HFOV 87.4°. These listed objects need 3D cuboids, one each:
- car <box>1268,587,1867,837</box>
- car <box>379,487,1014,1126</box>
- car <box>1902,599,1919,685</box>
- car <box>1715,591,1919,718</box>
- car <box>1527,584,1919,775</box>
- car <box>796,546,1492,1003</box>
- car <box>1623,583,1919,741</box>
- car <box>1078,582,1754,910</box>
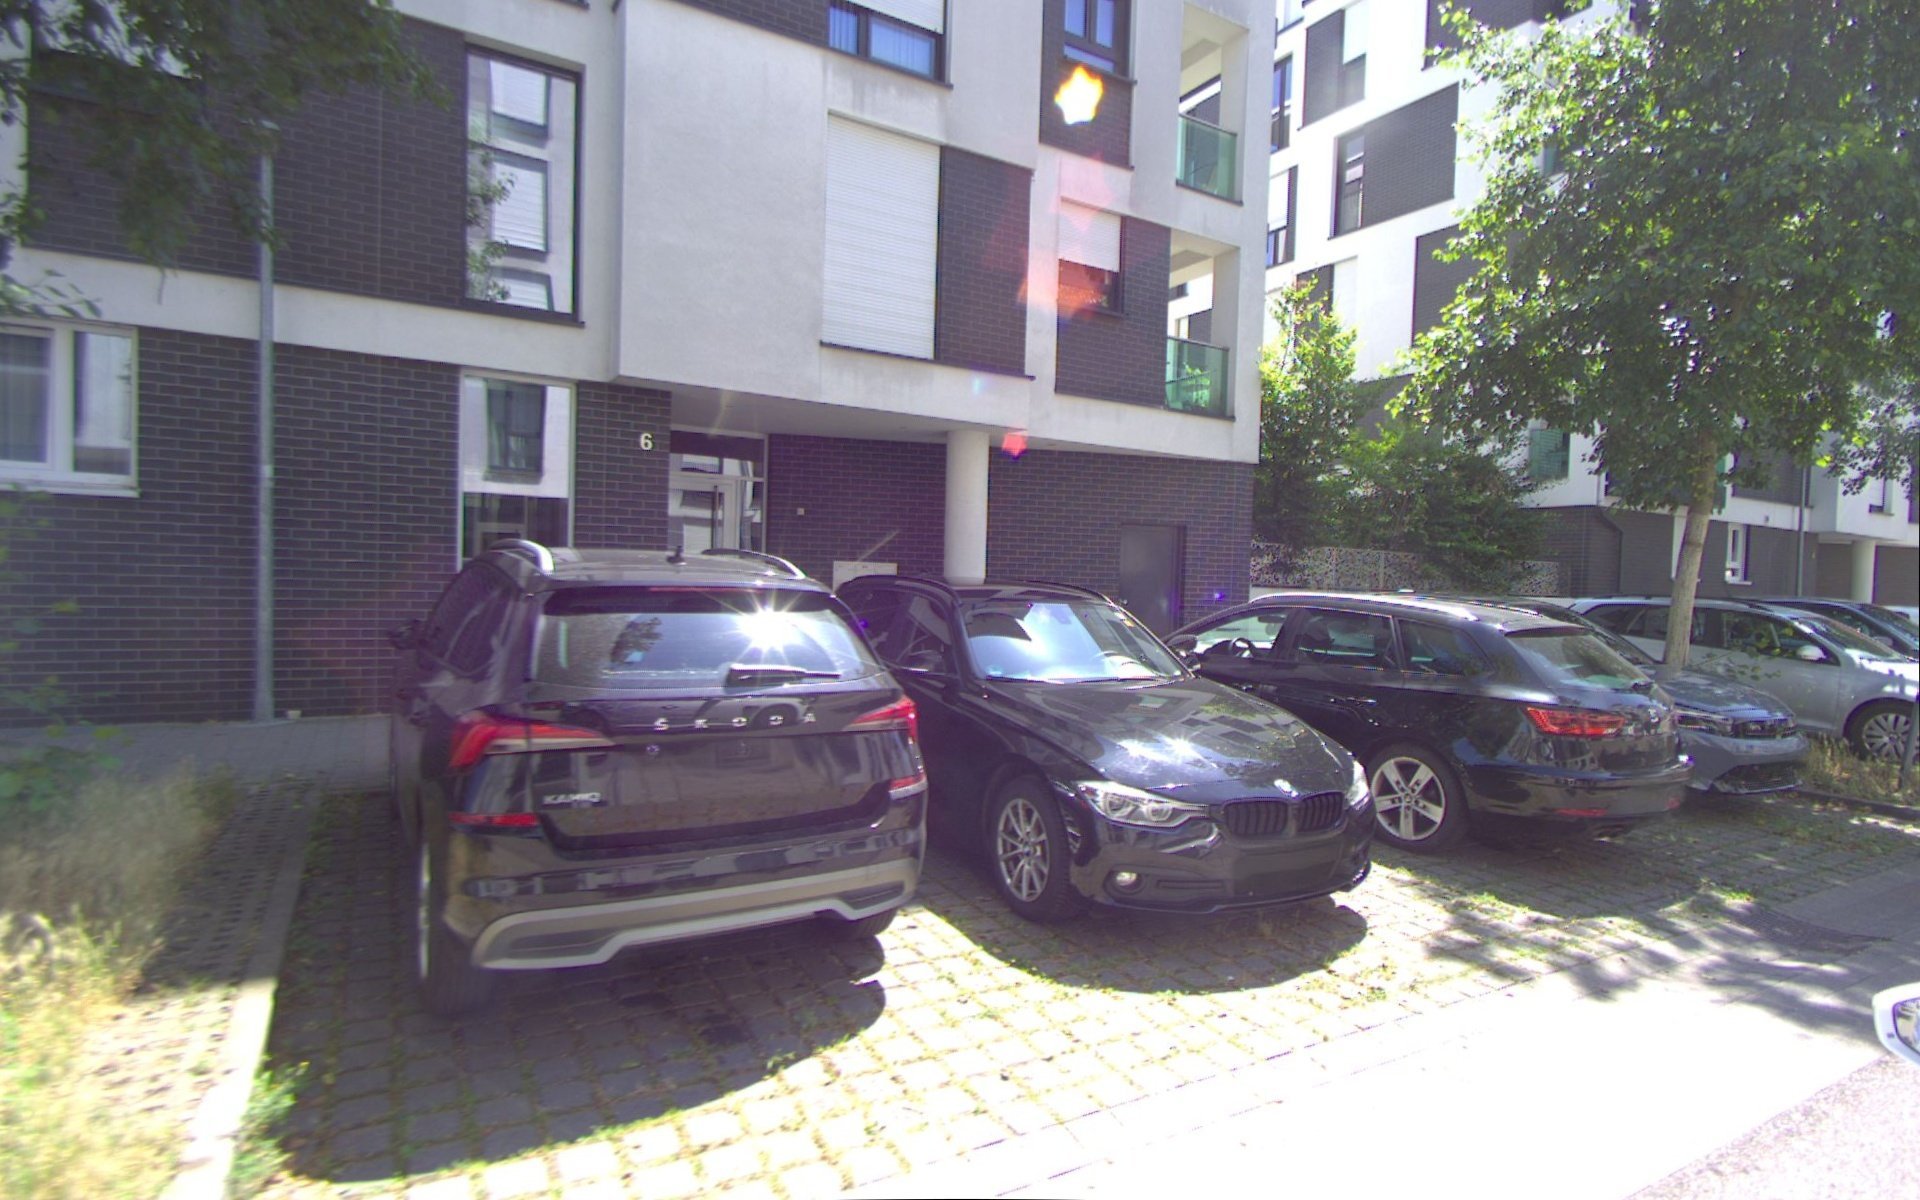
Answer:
[{"bbox_3d":[4.848,0.711,8.656,1.874,1.441,3.968,1,3,-29],"label":"car"},{"bbox_3d":[-1.641,0.453,4.782,1.910,1.651,3.967,1,2,-30],"label":"car"},{"bbox_3d":[19.312,0.875,17.437,1.850,1.574,3.917,1,3,-30],"label":"car"},{"bbox_3d":[12.938,0.739,14.333,1.827,1.520,2.916,1,4,-31],"label":"car"},{"bbox_3d":[8.795,0.741,10.785,1.978,1.733,4.336,1,-1,-32],"label":"car"},{"bbox_3d":[0.616,0.559,5.859,1.894,1.673,3.970,1,2,-28],"label":"car"},{"bbox_3d":[10.644,0.695,12.363,1.803,1.607,3.682,1,3,-35],"label":"car"},{"bbox_3d":[2.801,0.702,7.042,1.757,1.465,3.949,1,2,-34],"label":"car"}]
